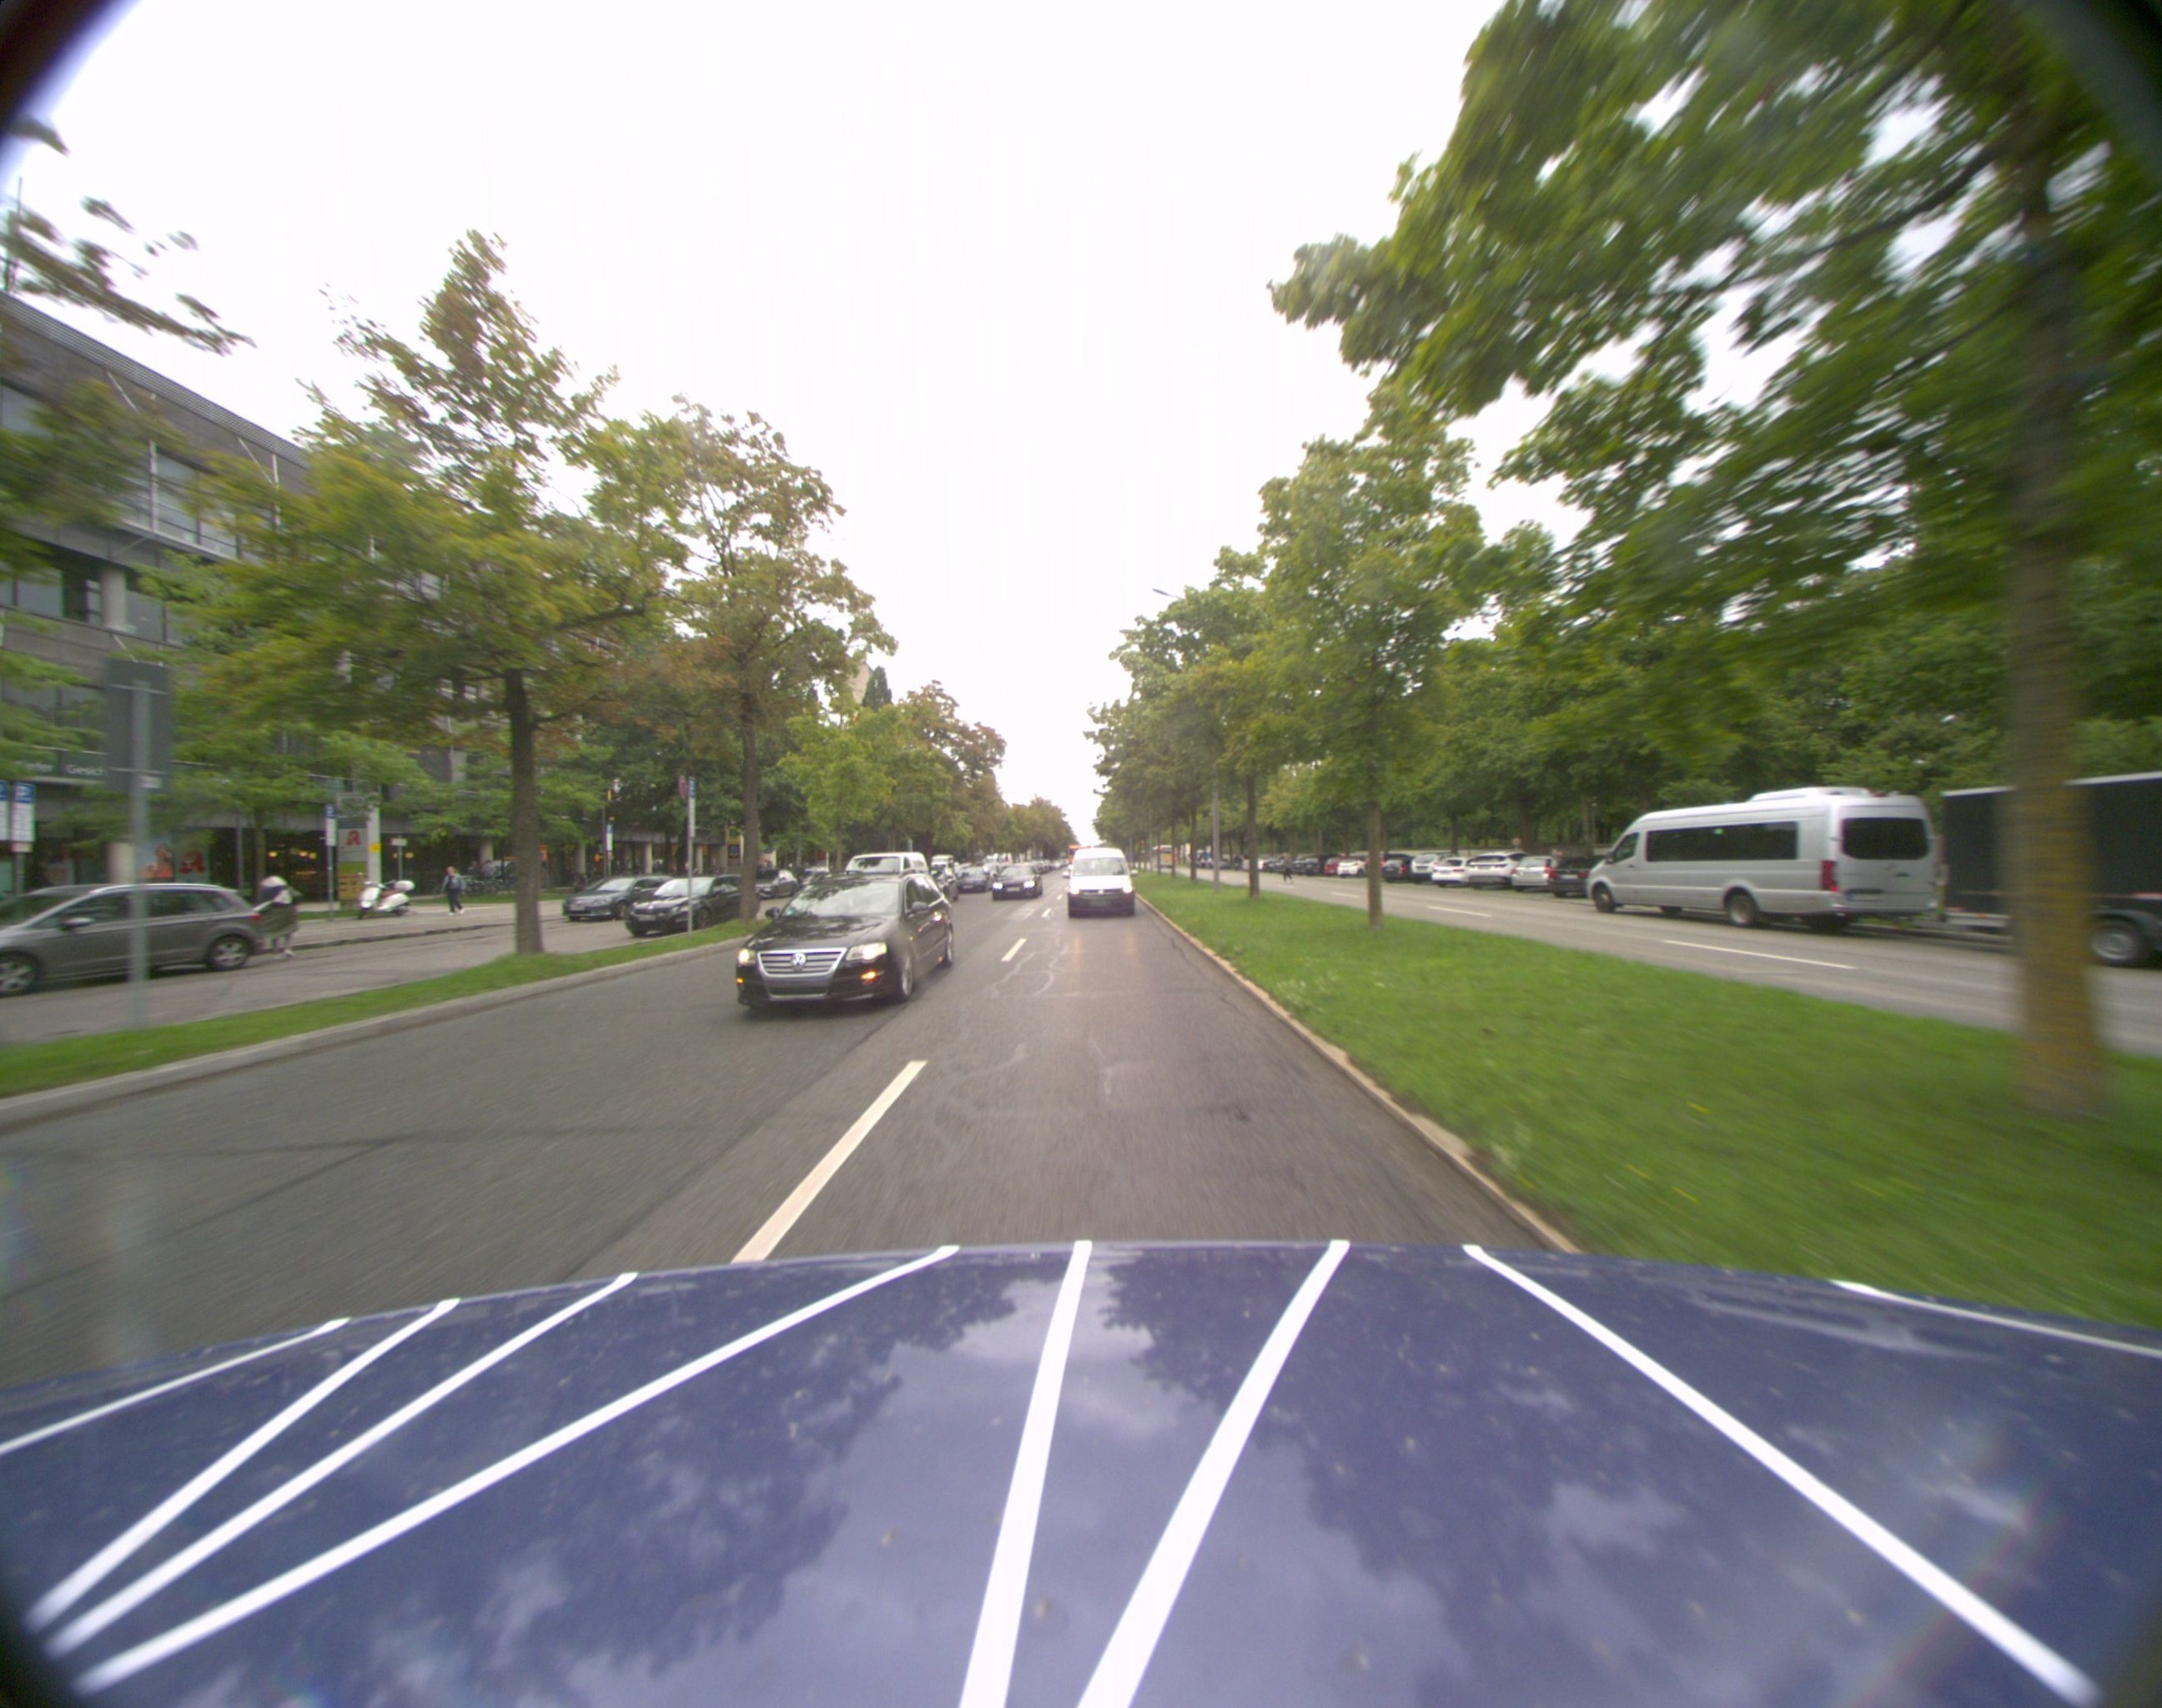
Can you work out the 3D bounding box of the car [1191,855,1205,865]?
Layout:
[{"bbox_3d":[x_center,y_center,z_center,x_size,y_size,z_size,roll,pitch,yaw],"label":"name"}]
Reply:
[{"bbox_3d":[19.019,1.012,123.883,1.889,1.435,4.170,-2,0,5],"label":"car"}]

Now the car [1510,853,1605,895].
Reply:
[{"bbox_3d":[19.282,0.773,30.710,4.007,1.457,1.797,-2,1,-35],"label":"car"}]

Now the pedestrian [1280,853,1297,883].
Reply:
[{"bbox_3d":[11.824,0.773,43.224,0.872,1.689,0.771,0,2,21],"label":"pedestrian"}]

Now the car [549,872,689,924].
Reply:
[{"bbox_3d":[-15.695,1.423,26.150,1.826,1.522,4.603,0,0,3],"label":"car"}]

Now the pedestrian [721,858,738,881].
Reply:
[{"bbox_3d":[-27.201,1.190,58.748,0.769,1.689,0.875,0,1,16],"label":"pedestrian"}]

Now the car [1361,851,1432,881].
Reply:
[{"bbox_3d":[19.300,0.739,46.407,4.005,1.577,1.798,-3,0,-28],"label":"car"}]

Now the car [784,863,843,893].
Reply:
[{"bbox_3d":[-15.568,1.376,44.518,1.826,1.624,4.500,0,0,0],"label":"car"}]

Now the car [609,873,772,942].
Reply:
[{"bbox_3d":[-10.024,1.305,20.001,1.732,1.424,4.691,-3,0,1],"label":"car"}]

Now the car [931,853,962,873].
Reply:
[{"bbox_3d":[-15.013,0.981,84.921,2.268,2.091,5.858,-1,0,1],"label":"car"}]

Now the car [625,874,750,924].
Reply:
[{"bbox_3d":[-13.120,1.448,25.672,1.726,1.371,4.352,-2,0,3],"label":"car"}]

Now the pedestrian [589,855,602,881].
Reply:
[{"bbox_3d":[-33.893,1.001,53.045,0.731,1.794,0.666,0,1,-32],"label":"pedestrian"}]

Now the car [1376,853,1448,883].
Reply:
[{"bbox_3d":[18.930,0.793,43.421,4.006,1.477,1.797,-3,-1,-33],"label":"car"}]

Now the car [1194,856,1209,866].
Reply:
[{"bbox_3d":[18.707,1.050,118.200,1.889,1.435,4.170,-2,0,5],"label":"car"}]

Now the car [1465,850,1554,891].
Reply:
[{"bbox_3d":[18.987,0.704,33.620,4.007,1.613,1.797,-2,1,-35],"label":"car"}]

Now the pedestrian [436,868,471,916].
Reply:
[{"bbox_3d":[-20.595,1.252,24.945,0.661,1.533,0.631,1,1,-14],"label":"pedestrian"}]

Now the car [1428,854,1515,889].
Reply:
[{"bbox_3d":[18.878,0.827,36.726,4.331,1.430,1.797,-2,1,-33],"label":"car"}]

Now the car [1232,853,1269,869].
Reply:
[{"bbox_3d":[19.365,0.781,86.796,4.006,1.718,1.777,-2,1,-33],"label":"car"}]

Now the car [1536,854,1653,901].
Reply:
[{"bbox_3d":[18.441,0.802,27.256,4.005,1.425,1.797,-2,1,-29],"label":"car"}]

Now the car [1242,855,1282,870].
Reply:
[{"bbox_3d":[19.109,0.902,80.179,4.006,1.358,1.588,-2,1,-29],"label":"car"}]

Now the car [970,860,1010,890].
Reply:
[{"bbox_3d":[-5.432,1.223,45.761,1.686,1.632,4.465,-4,0,1],"label":"car"}]

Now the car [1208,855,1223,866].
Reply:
[{"bbox_3d":[18.421,0.906,104.135,1.741,1.363,4.170,-2,0,5],"label":"car"}]

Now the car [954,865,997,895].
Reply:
[{"bbox_3d":[-5.516,1.324,40.135,1.686,1.367,4.081,-3,0,0],"label":"car"}]

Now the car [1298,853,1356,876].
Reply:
[{"bbox_3d":[19.024,0.787,58.722,4.005,1.548,1.888,-3,0,-26],"label":"car"}]

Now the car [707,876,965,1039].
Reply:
[{"bbox_3d":[-2.756,1.087,9.721,1.735,1.424,4.442,-3,0,1],"label":"car"}]

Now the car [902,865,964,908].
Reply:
[{"bbox_3d":[-5.799,1.237,30.215,1.700,1.440,4.041,-3,0,-1],"label":"car"}]

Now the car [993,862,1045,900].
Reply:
[{"bbox_3d":[-2.564,1.090,32.430,1.763,1.405,4.462,-3,0,0],"label":"car"}]

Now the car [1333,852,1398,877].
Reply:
[{"bbox_3d":[19.730,0.742,52.700,4.005,1.455,1.888,-3,0,-26],"label":"car"}]

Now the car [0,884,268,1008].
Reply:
[{"bbox_3d":[-16.162,1.379,12.077,1.826,1.624,4.199,0,0,3],"label":"car"}]

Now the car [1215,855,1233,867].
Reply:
[{"bbox_3d":[18.374,0.912,97.880,1.889,1.435,4.170,-2,0,5],"label":"car"}]

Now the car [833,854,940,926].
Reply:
[{"bbox_3d":[-5.880,1.005,23.620,1.885,1.916,4.933,-3,0,1],"label":"car"}]

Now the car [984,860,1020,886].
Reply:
[{"bbox_3d":[-5.283,1.257,51.169,1.686,1.513,4.465,-4,0,2],"label":"car"}]

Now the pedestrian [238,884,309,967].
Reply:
[{"bbox_3d":[-16.092,1.404,15.154,0.657,1.584,0.755,-1,0,20],"label":"pedestrian"}]

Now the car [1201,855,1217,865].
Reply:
[{"bbox_3d":[18.461,0.845,109.736,1.889,1.435,4.170,-2,0,5],"label":"car"}]

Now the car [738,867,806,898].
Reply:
[{"bbox_3d":[-15.825,1.417,39.160,1.827,1.521,4.601,0,-1,-3],"label":"car"}]
